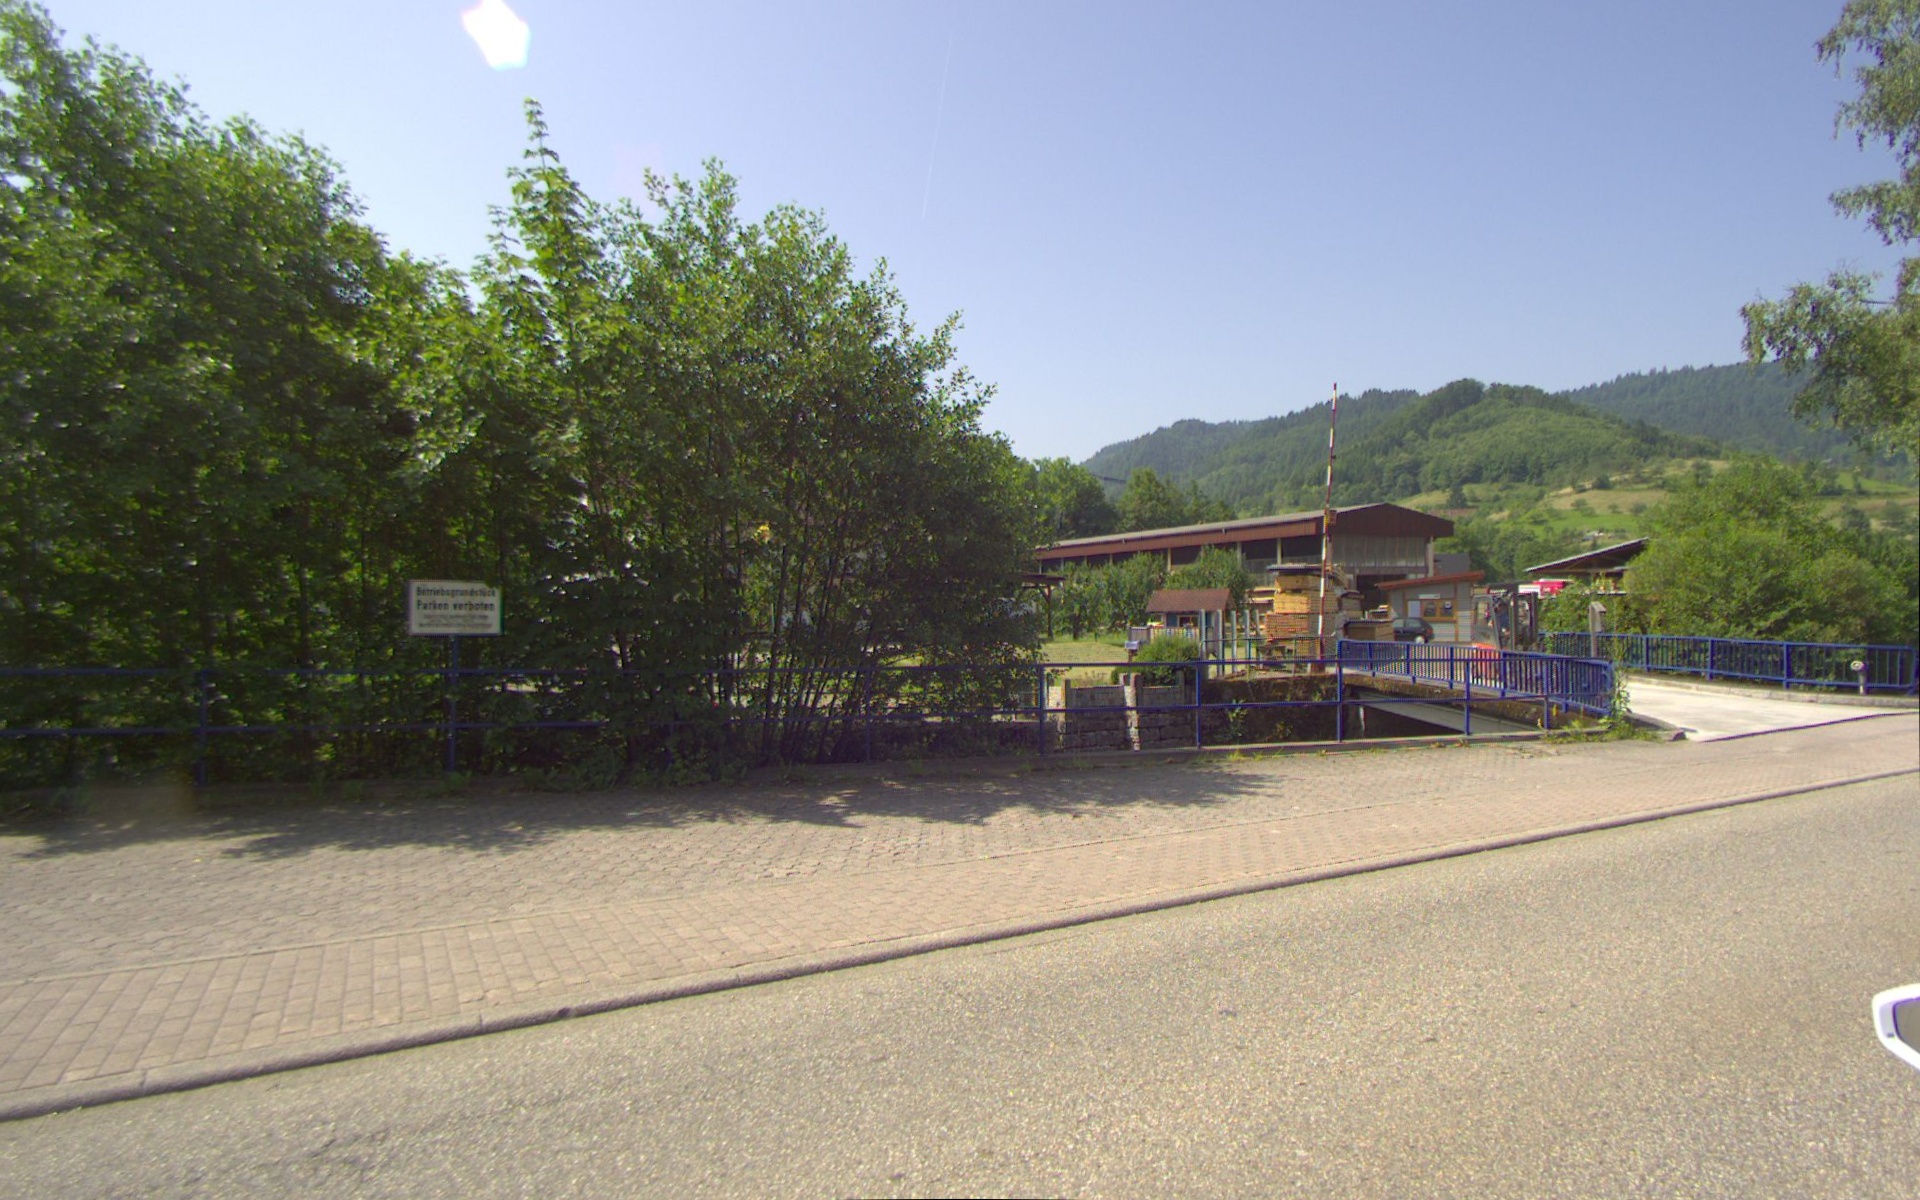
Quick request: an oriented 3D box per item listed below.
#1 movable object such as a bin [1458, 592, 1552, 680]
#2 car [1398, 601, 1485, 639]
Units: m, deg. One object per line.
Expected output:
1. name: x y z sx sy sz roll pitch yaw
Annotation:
1. movable object such as a bin: 13.517 0.883 24.997 1.114 2.099 2.126 0 -1 -2
2. car: 26.779 1.129 55.947 3.919 2.040 2.002 -1 -2 9
